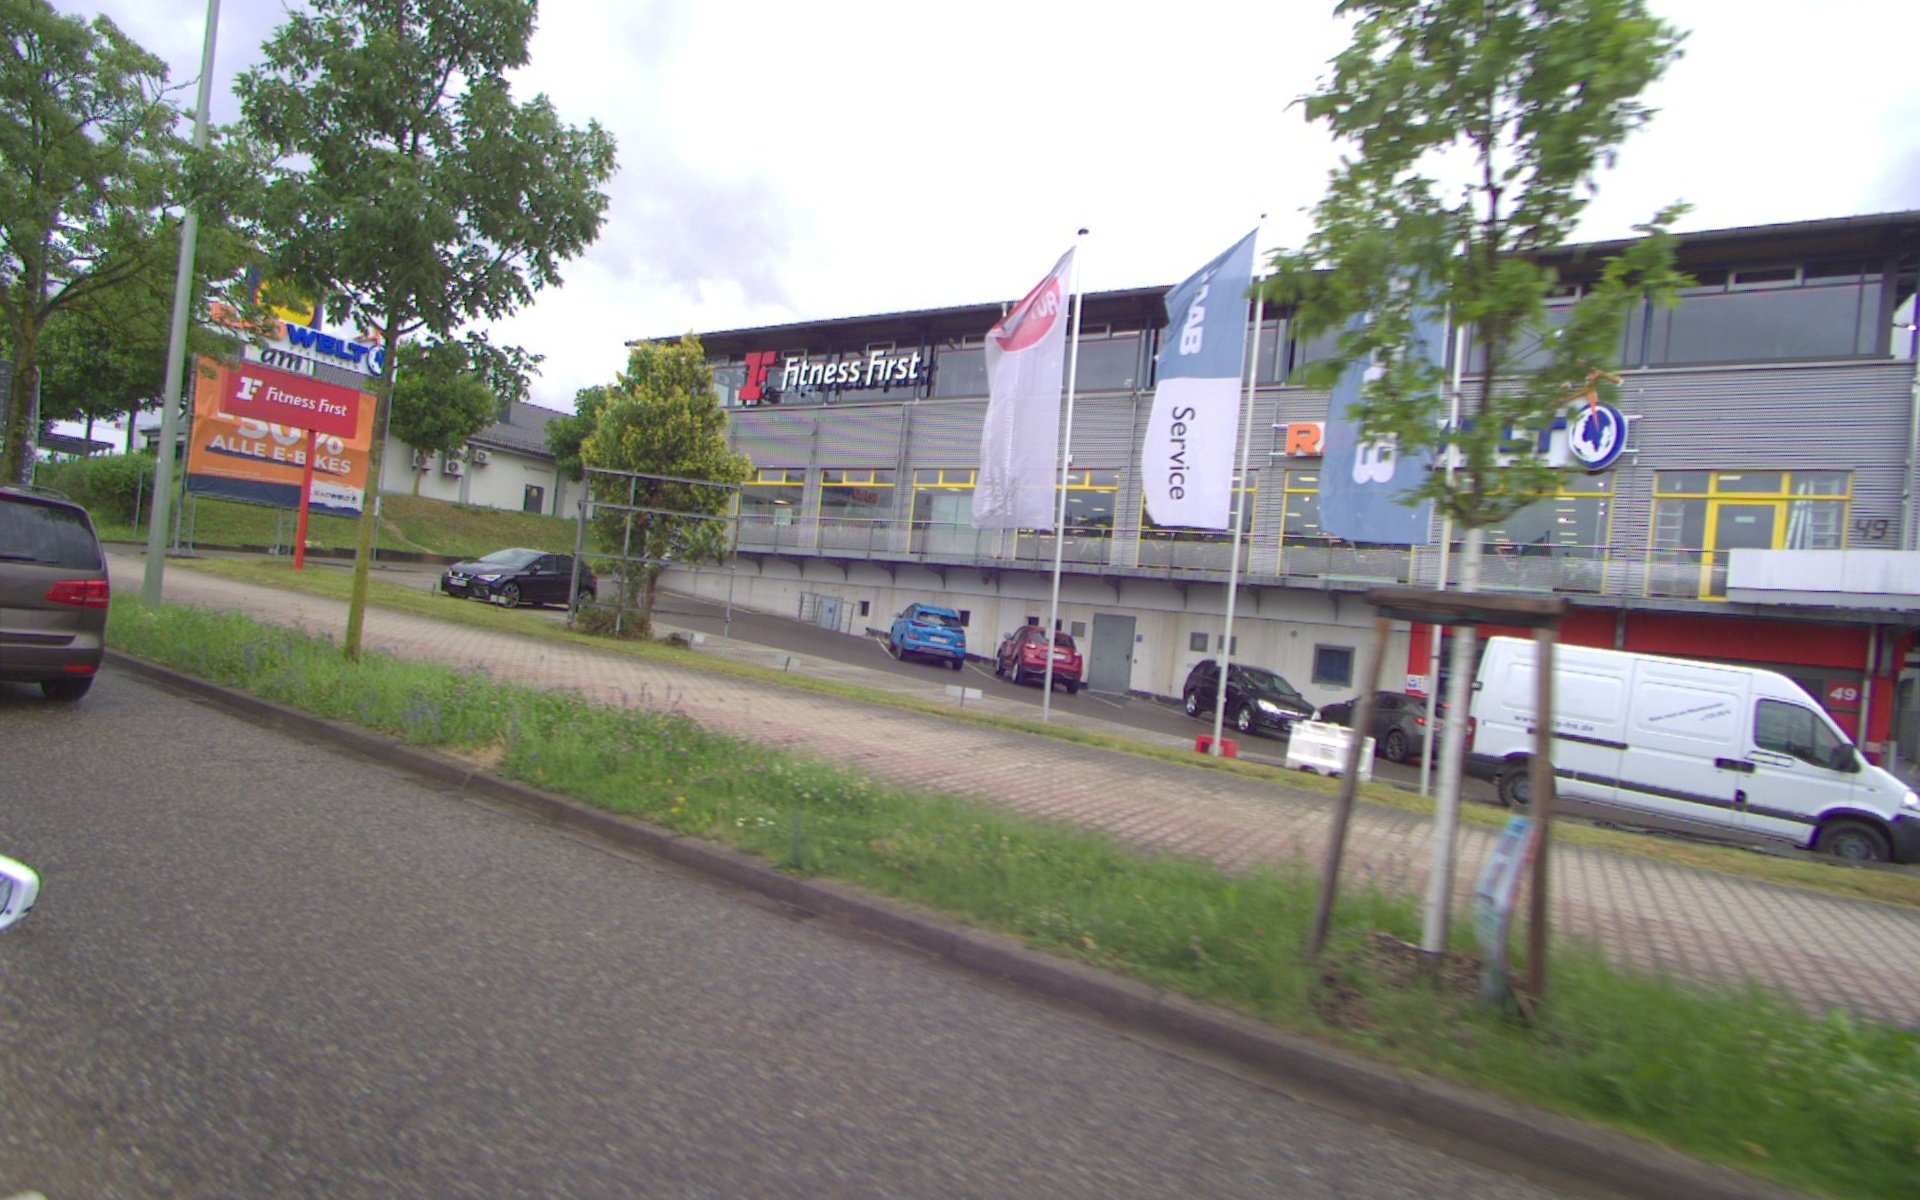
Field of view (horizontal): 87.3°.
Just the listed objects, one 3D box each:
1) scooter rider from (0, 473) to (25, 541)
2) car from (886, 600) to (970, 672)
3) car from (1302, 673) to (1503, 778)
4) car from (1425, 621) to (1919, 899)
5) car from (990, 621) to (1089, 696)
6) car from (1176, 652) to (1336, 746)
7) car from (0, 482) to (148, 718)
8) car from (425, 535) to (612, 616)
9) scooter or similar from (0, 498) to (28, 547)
[{"bbox_3d":[-26.800,-2.612,28.071,0.843,1.844,0.696,6,2,26],"label":"scooter rider"},{"bbox_3d":[-0.997,0.975,28.983,1.711,1.578,3.903,9,0,-9],"label":"car"},{"bbox_3d":[9.699,2.709,22.478,1.756,1.488,4.247,9,0,-13],"label":"car"},{"bbox_3d":[9.929,2.046,14.167,5.588,2.566,2.231,9,-1,34],"label":"car"},{"bbox_3d":[2.090,1.539,27.530,1.710,1.520,3.868,9,0,-8],"label":"car"},{"bbox_3d":[6.884,2.263,23.922,1.712,1.488,4.249,9,0,-11],"label":"car"},{"bbox_3d":[-8.418,-0.202,7.902,4.148,1.598,1.690,6,-3,31],"label":"car"},{"bbox_3d":[-10.760,-0.542,24.844,1.763,1.456,4.105,9,0,19],"label":"car"},{"bbox_3d":[-26.819,-2.201,28.079,1.376,1.280,0.696,6,2,26],"label":"scooter or similar"}]
